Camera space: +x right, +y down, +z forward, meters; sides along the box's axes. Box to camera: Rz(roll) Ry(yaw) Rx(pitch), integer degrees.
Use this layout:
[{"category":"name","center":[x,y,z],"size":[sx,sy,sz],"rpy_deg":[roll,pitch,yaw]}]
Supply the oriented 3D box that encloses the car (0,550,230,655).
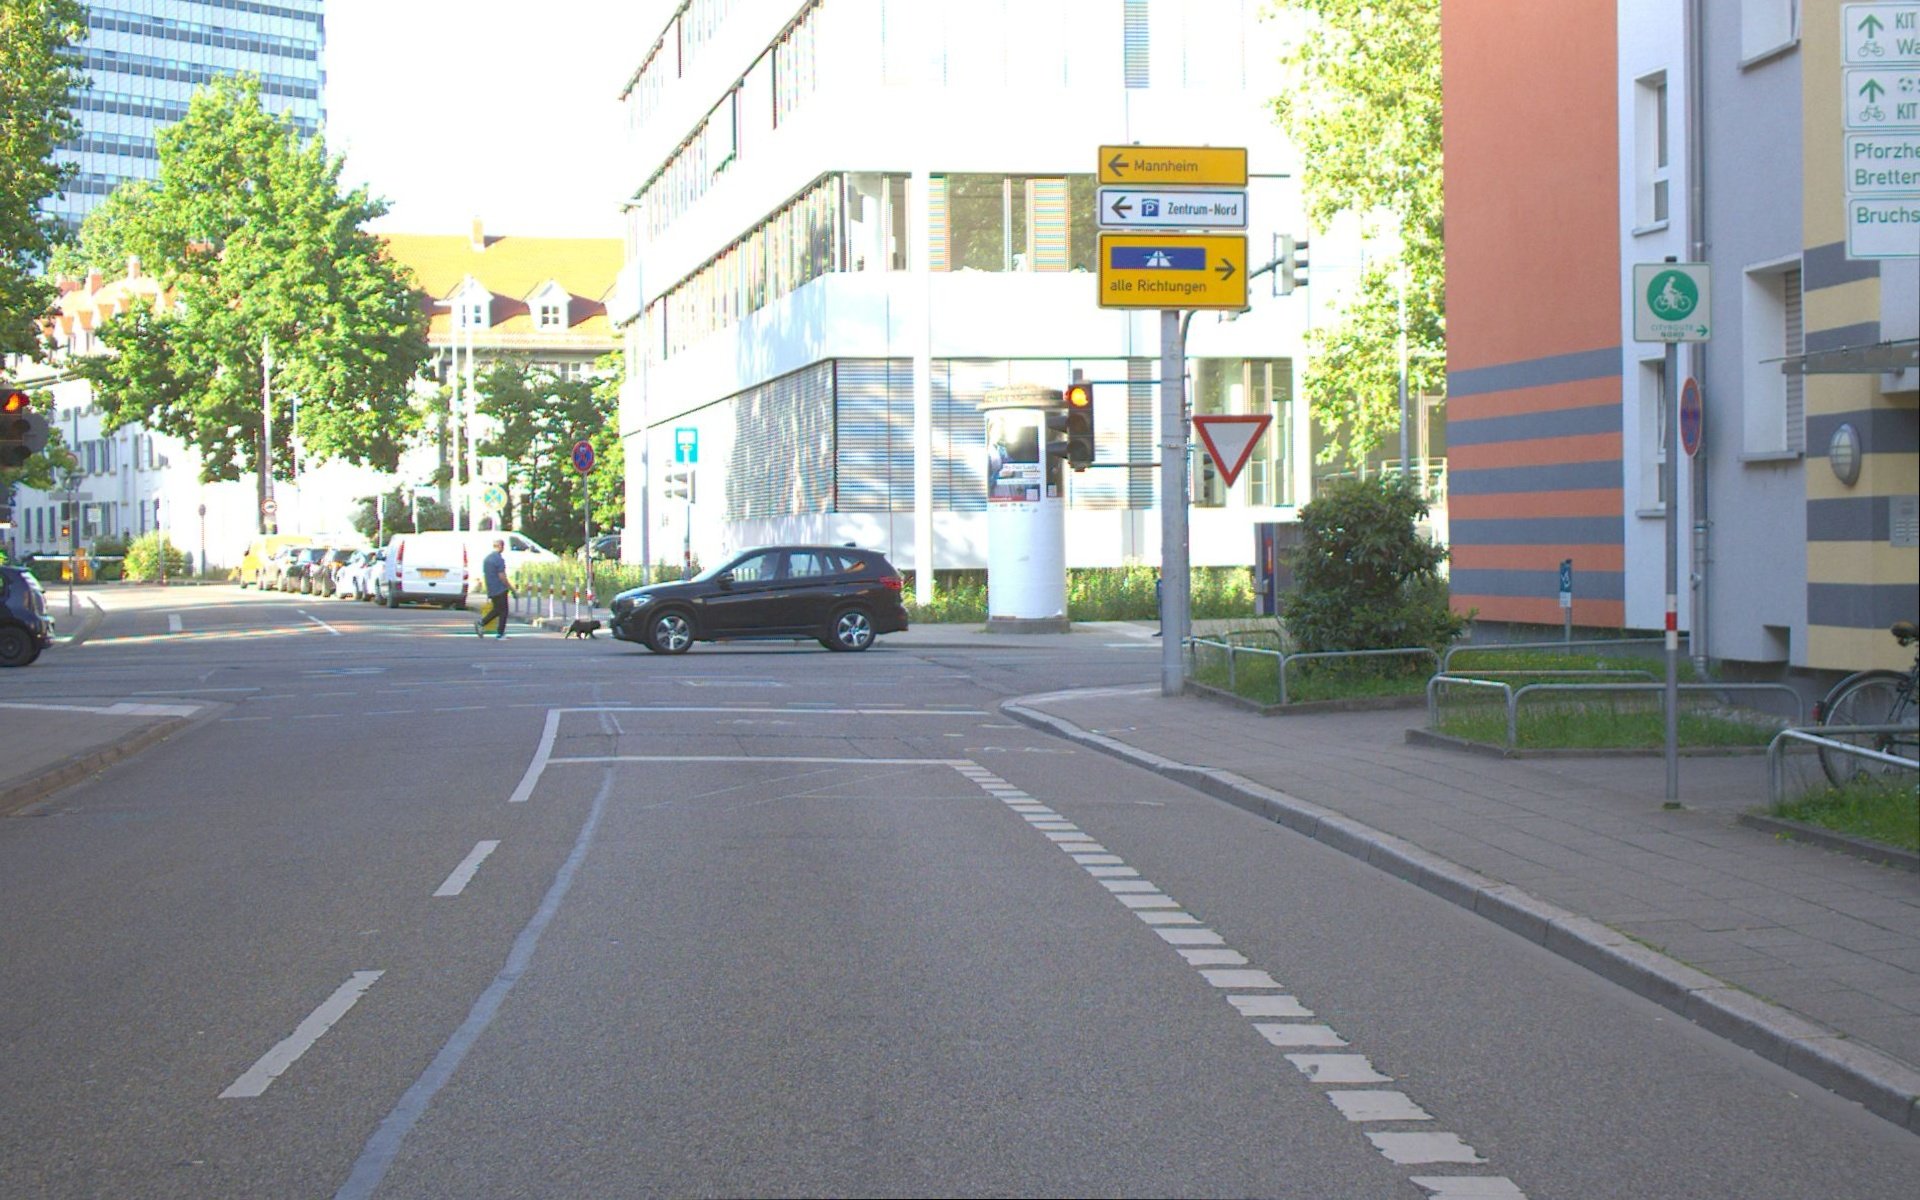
[{"category":"car","center":[-12.190,0.022,49.103],"size":[3.428,1.441,1.775],"rpy_deg":[-1,1,-13]}]

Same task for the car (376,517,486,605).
[{"category":"car","center":[-13.346,-0.977,86.491],"size":[2.423,2.105,5.233],"rpy_deg":[1,0,-12]}]

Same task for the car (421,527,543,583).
[{"category":"car","center":[-17.247,-1.621,124.018],"size":[3.986,1.909,1.920],"rpy_deg":[1,0,-23]}]

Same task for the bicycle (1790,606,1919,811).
[{"category":"bicycle","center":[5.238,0.525,17.668],"size":[1.753,1.000,0.613],"rpy_deg":[-2,0,-4]}]

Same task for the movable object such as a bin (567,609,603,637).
[{"category":"movable object such as a bin","center":[-6.719,0.408,61.605],"size":[0.589,0.479,0.286],"rpy_deg":[-1,1,-16]}]

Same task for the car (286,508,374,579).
[{"category":"car","center":[-19.638,-1.750,107.059],"size":[2.329,2.105,5.007],"rpy_deg":[1,0,-14]}]

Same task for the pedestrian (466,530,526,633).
[{"category":"pedestrian","center":[-8.091,-0.322,59.901],"size":[0.926,1.753,0.848],"rpy_deg":[1,0,-13]}]

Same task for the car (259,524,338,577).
[{"category":"car","center":[-22.534,-1.670,116.971],"size":[2.329,1.727,5.007],"rpy_deg":[1,0,-14]}]

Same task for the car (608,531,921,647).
[{"category":"car","center":[-2.916,-0.185,50.895],"size":[4.364,1.627,2.001],"rpy_deg":[-1,1,-11]}]

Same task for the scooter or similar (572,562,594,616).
[{"category":"scooter or similar","center":[-7.462,-0.225,68.028],"size":[0.325,1.056,1.143],"rpy_deg":[-1,1,-12]}]

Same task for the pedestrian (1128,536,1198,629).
[{"category":"pedestrian","center":[3.366,-0.288,57.092],"size":[0.926,1.510,0.848],"rpy_deg":[1,0,-13]}]

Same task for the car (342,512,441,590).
[{"category":"car","center":[-16.185,-1.389,97.654],"size":[2.329,2.105,5.007],"rpy_deg":[1,0,-14]}]
